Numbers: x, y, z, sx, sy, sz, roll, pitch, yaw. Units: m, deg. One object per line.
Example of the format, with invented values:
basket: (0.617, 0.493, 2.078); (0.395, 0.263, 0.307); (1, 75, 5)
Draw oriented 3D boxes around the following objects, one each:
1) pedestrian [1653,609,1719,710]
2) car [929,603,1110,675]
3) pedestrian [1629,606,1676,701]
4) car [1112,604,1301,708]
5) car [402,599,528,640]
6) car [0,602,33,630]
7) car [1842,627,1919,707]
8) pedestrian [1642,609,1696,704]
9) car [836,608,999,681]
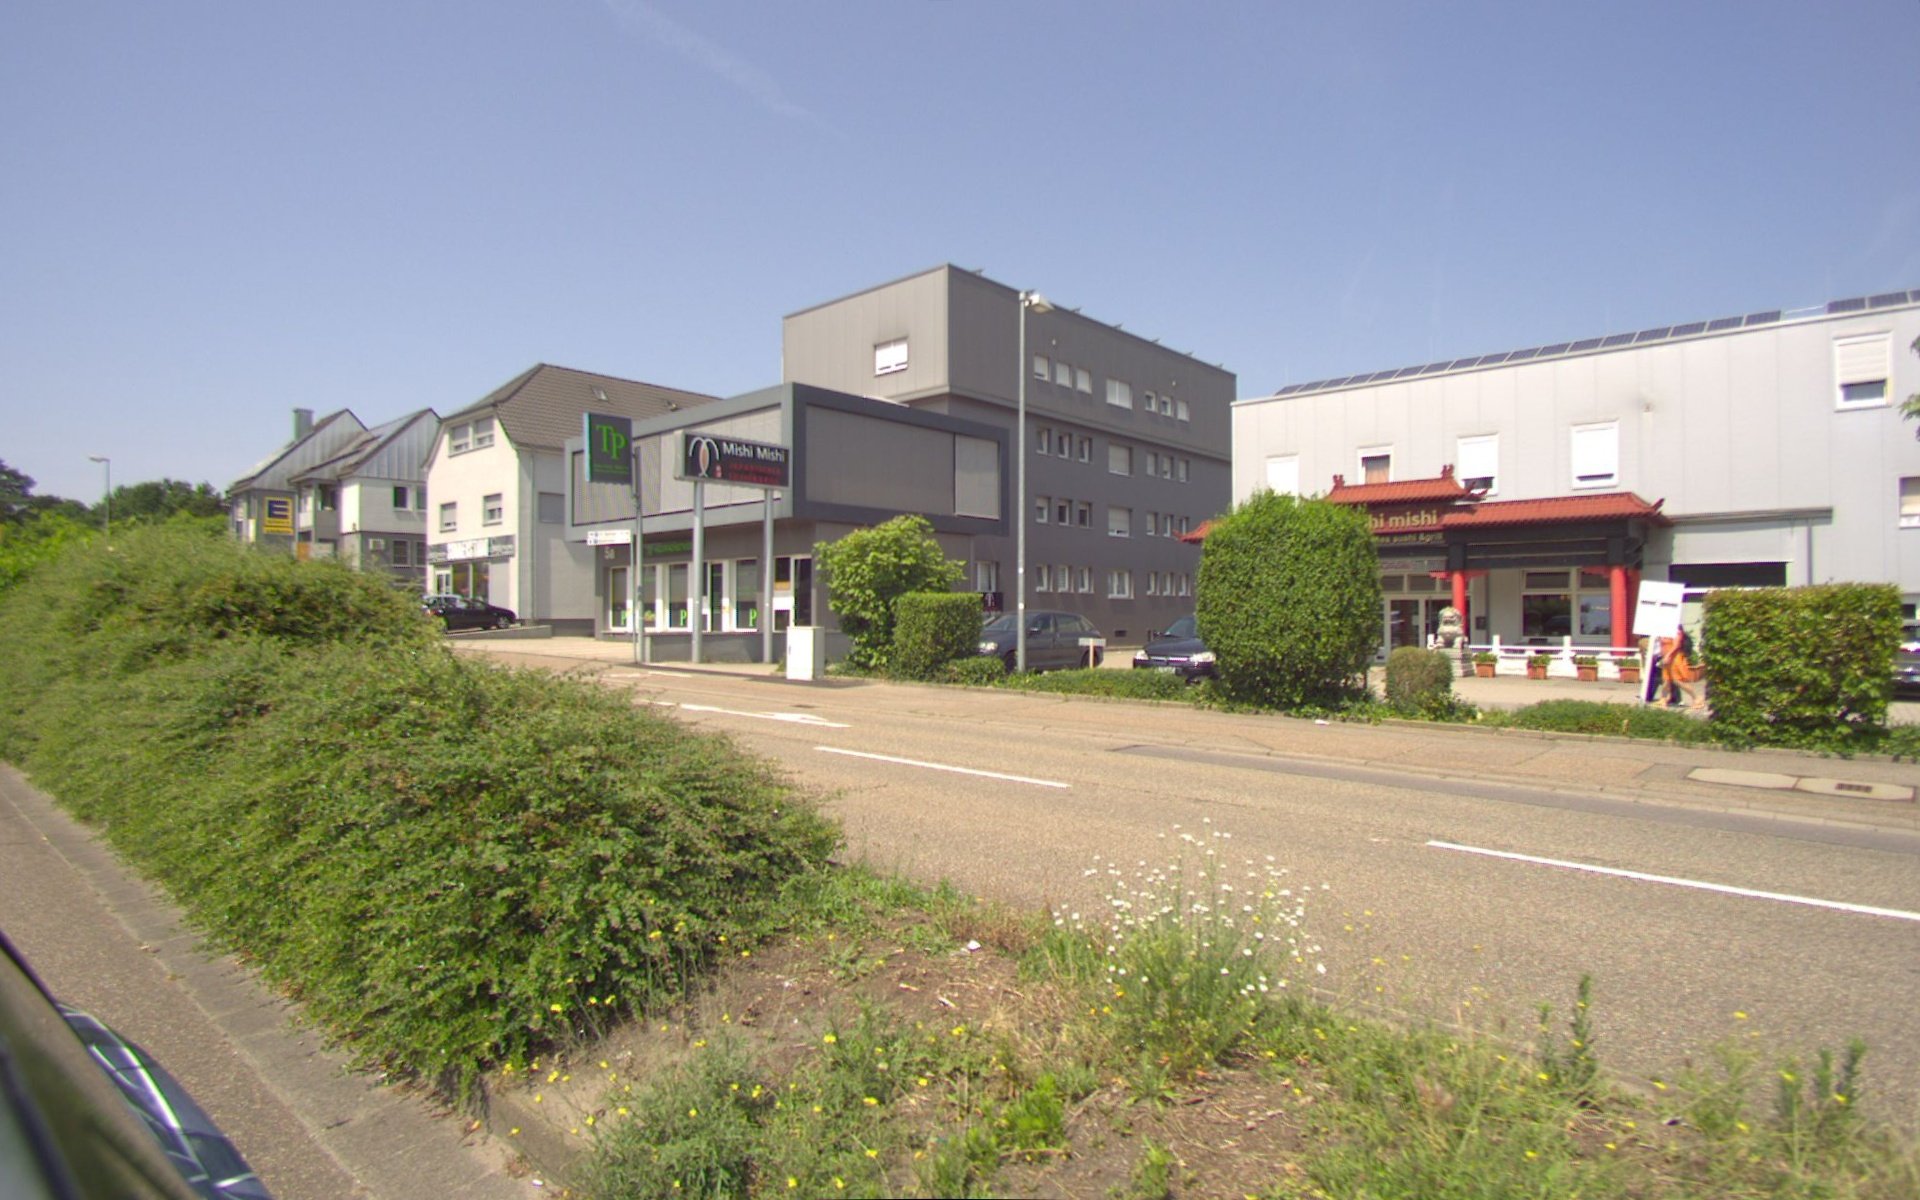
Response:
pedestrian: (11.983, 0.958, 16.703); (0.825, 1.596, 0.635); (1, 1, 40)
car: (1.329, 0.845, 21.235); (1.669, 1.382, 3.952); (-2, -4, 43)
pedestrian: (12.619, 0.961, 18.441); (0.624, 1.669, 0.540); (1, 1, 40)
car: (4.356, 0.877, 17.617); (1.777, 1.541, 3.444); (1, 1, 42)
car: (-19.527, 0.756, 40.046); (1.997, 1.532, 4.018); (0, -1, 38)
car: (-53.902, 0.919, 56.799); (4.347, 1.363, 1.790); (0, 6, 36)
car: (19.176, 1.279, 20.200); (1.960, 1.478, 3.936); (-1, -2, 36)
pedestrian: (12.313, 0.957, 17.580); (0.703, 1.590, 0.574); (1, 1, 40)
car: (-0.876, 0.955, 22.990); (1.572, 1.470, 3.951); (1, 0, 36)
